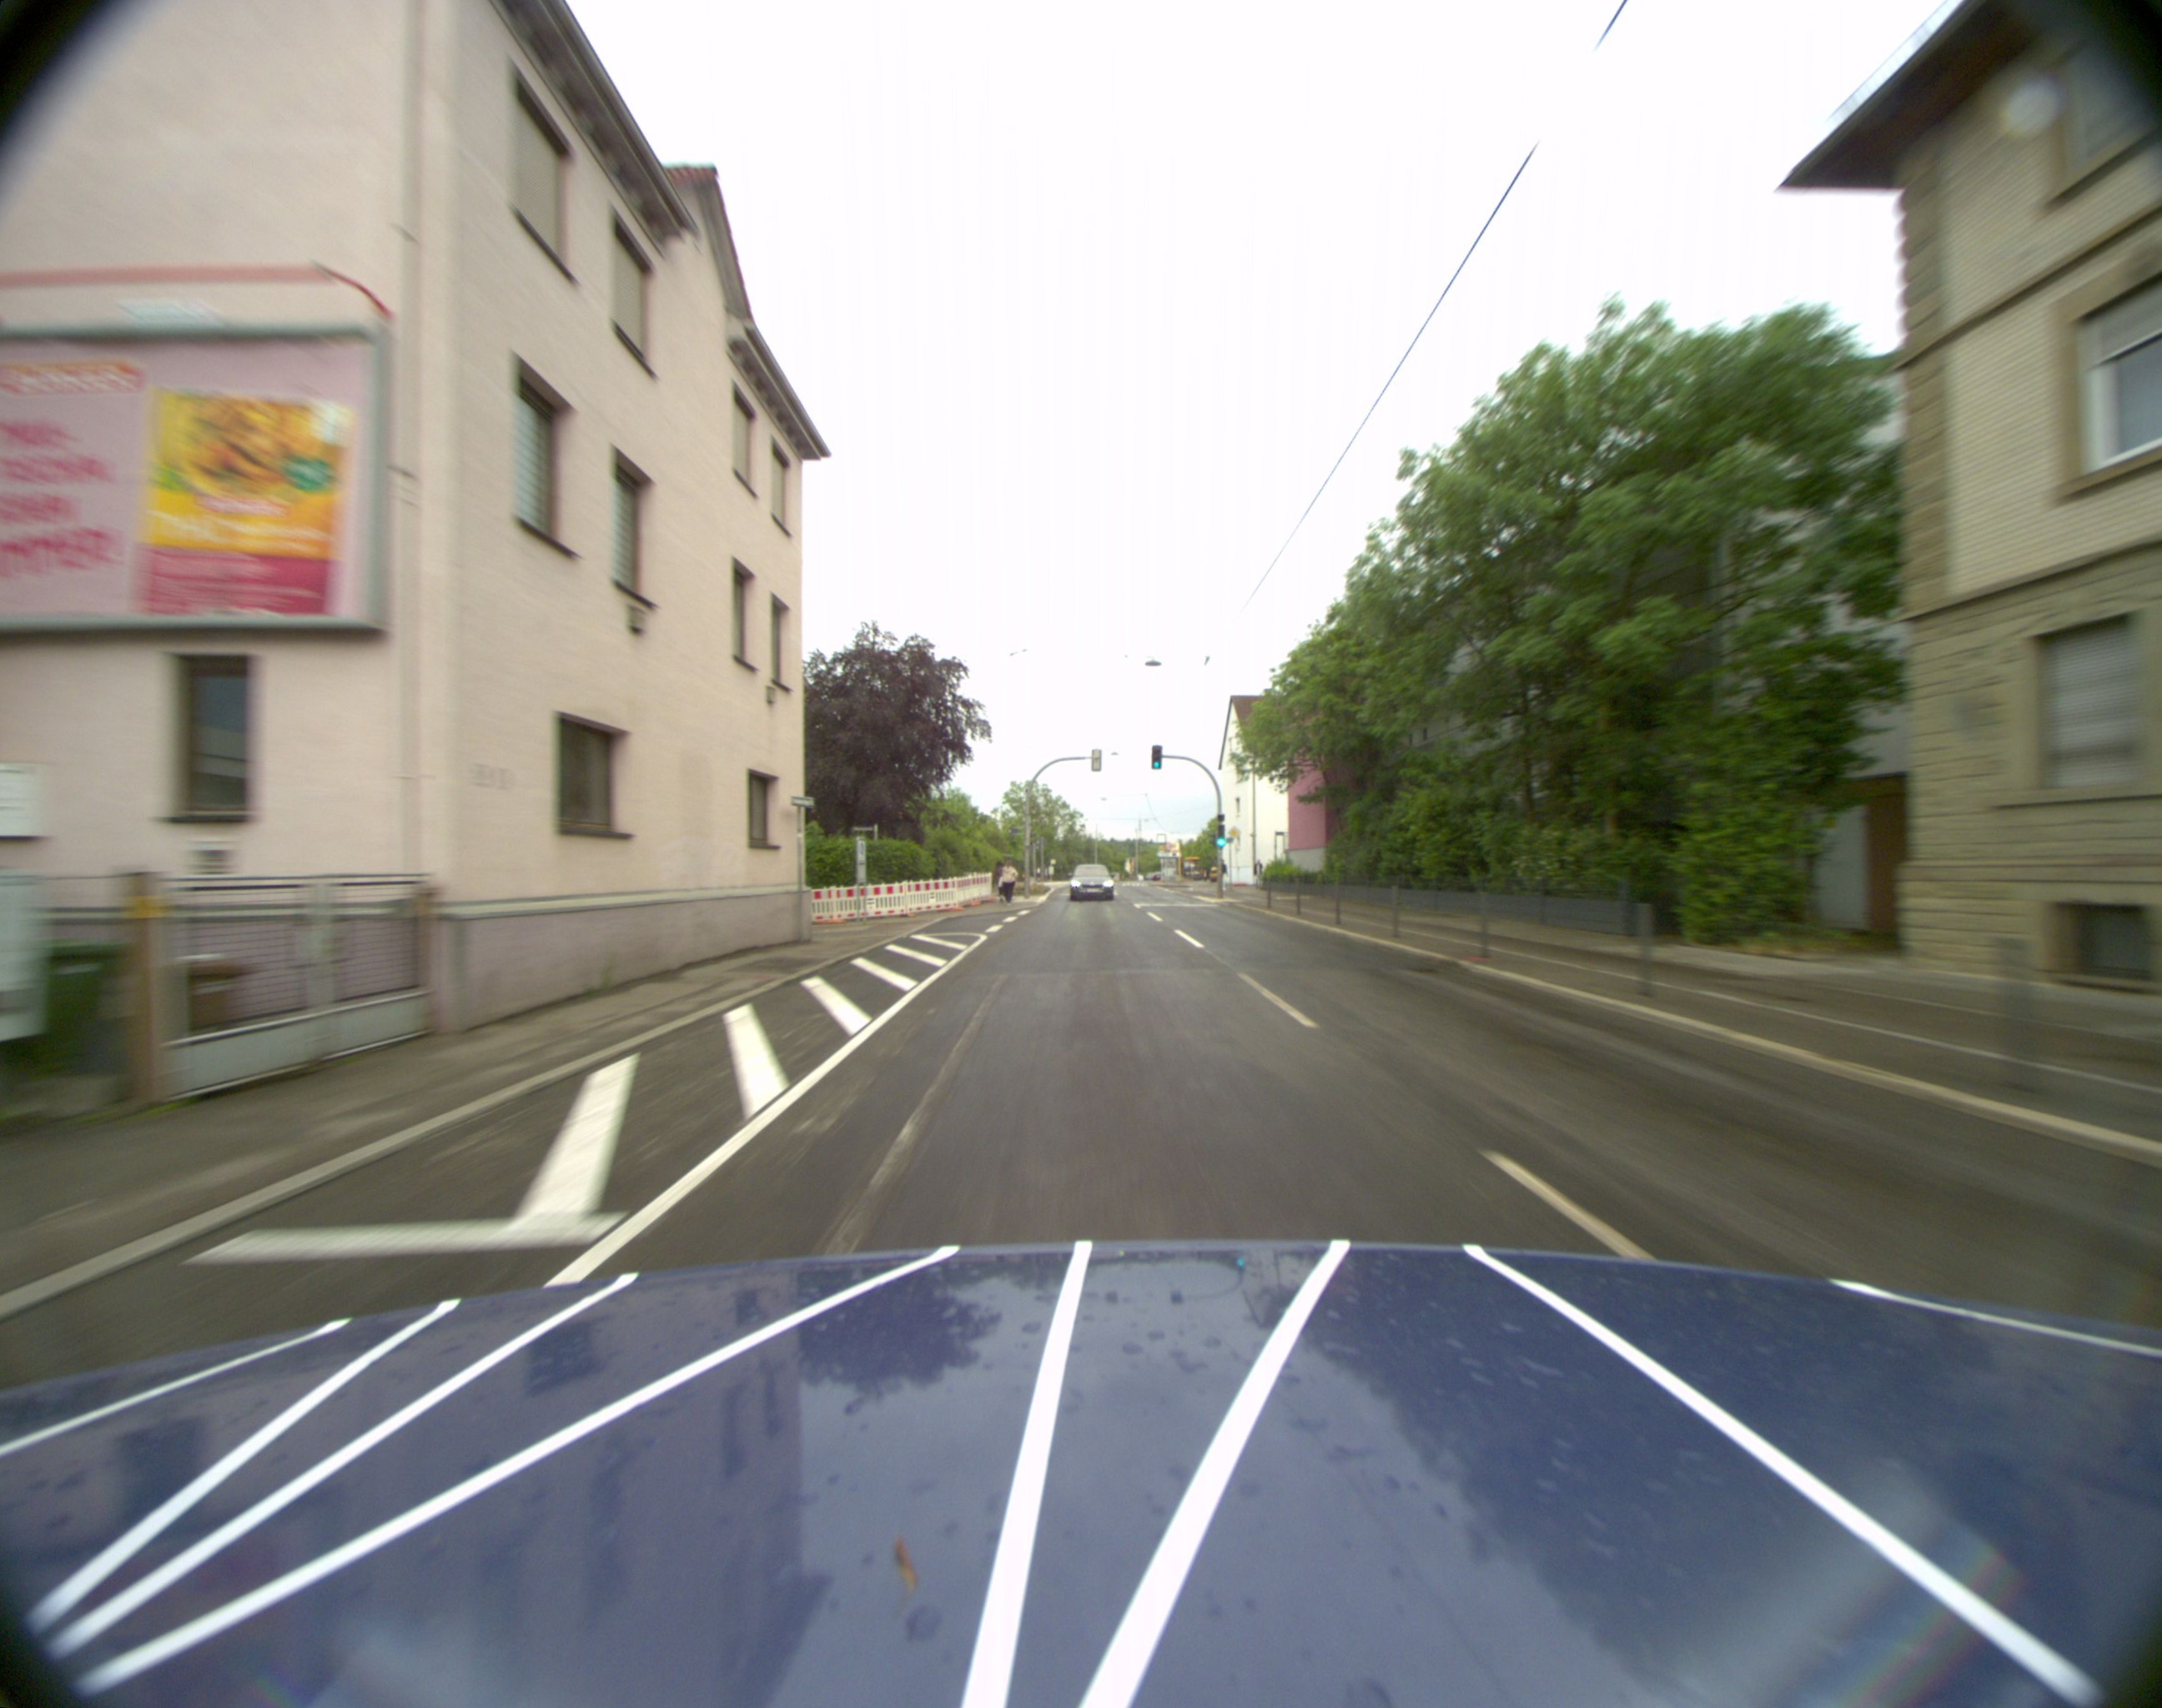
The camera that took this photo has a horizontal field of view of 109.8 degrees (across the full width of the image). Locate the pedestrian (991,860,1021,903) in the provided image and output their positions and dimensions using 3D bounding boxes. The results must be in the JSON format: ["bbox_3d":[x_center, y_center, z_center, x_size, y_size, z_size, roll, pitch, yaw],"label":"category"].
[{"bbox_3d":[-2.846,1.029,28.925,0.876,1.551,1.049,-2,1,7],"label":"pedestrian"}]

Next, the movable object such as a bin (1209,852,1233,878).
[{"bbox_3d":[15.480,1.251,83.891,2.132,2.789,4.985,-3,-2,15],"label":"movable object such as a bin"}]

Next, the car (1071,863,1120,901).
[{"bbox_3d":[0.555,1.132,31.009,1.837,1.429,4.001,-1,-2,0],"label":"car"}]

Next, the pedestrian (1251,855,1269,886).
[{"bbox_3d":[10.803,1.018,45.925,0.808,1.810,1.116,-1,-1,0],"label":"pedestrian"}]

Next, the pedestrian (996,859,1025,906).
[{"bbox_3d":[-2.523,0.997,27.160,0.785,1.632,1.222,-2,1,5],"label":"pedestrian"}]

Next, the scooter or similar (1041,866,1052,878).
[{"bbox_3d":[-3.642,1.904,79.721,1.245,1.307,0.231,0,-1,-34],"label":"scooter or similar"}]

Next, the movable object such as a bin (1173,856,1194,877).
[{"bbox_3d":[15.674,1.998,115.860,2.828,3.093,4.640,-1,-2,13],"label":"movable object such as a bin"}]

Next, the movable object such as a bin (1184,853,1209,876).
[{"bbox_3d":[20.046,1.829,131.369,2.951,3.820,8.140,-1,-2,18],"label":"movable object such as a bin"}]

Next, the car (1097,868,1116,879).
[{"bbox_3d":[3.085,2.394,92.216,1.604,1.294,3.718,-2,-2,14],"label":"car"}]

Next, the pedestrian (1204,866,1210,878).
[{"bbox_3d":[15.078,2.156,90.775,0.603,1.519,1.039,-2,-2,15],"label":"pedestrian"}]

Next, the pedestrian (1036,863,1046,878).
[{"bbox_3d":[-4.187,1.716,79.668,0.922,1.537,0.543,0,-1,-31],"label":"pedestrian"}]

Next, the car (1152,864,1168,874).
[{"bbox_3d":[12.326,2.368,118.756,1.785,1.444,4.395,-1,-1,15],"label":"car"}]

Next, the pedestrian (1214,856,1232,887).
[{"bbox_3d":[8.758,1.066,46.833,0.864,1.871,1.044,0,-1,-1],"label":"pedestrian"}]
